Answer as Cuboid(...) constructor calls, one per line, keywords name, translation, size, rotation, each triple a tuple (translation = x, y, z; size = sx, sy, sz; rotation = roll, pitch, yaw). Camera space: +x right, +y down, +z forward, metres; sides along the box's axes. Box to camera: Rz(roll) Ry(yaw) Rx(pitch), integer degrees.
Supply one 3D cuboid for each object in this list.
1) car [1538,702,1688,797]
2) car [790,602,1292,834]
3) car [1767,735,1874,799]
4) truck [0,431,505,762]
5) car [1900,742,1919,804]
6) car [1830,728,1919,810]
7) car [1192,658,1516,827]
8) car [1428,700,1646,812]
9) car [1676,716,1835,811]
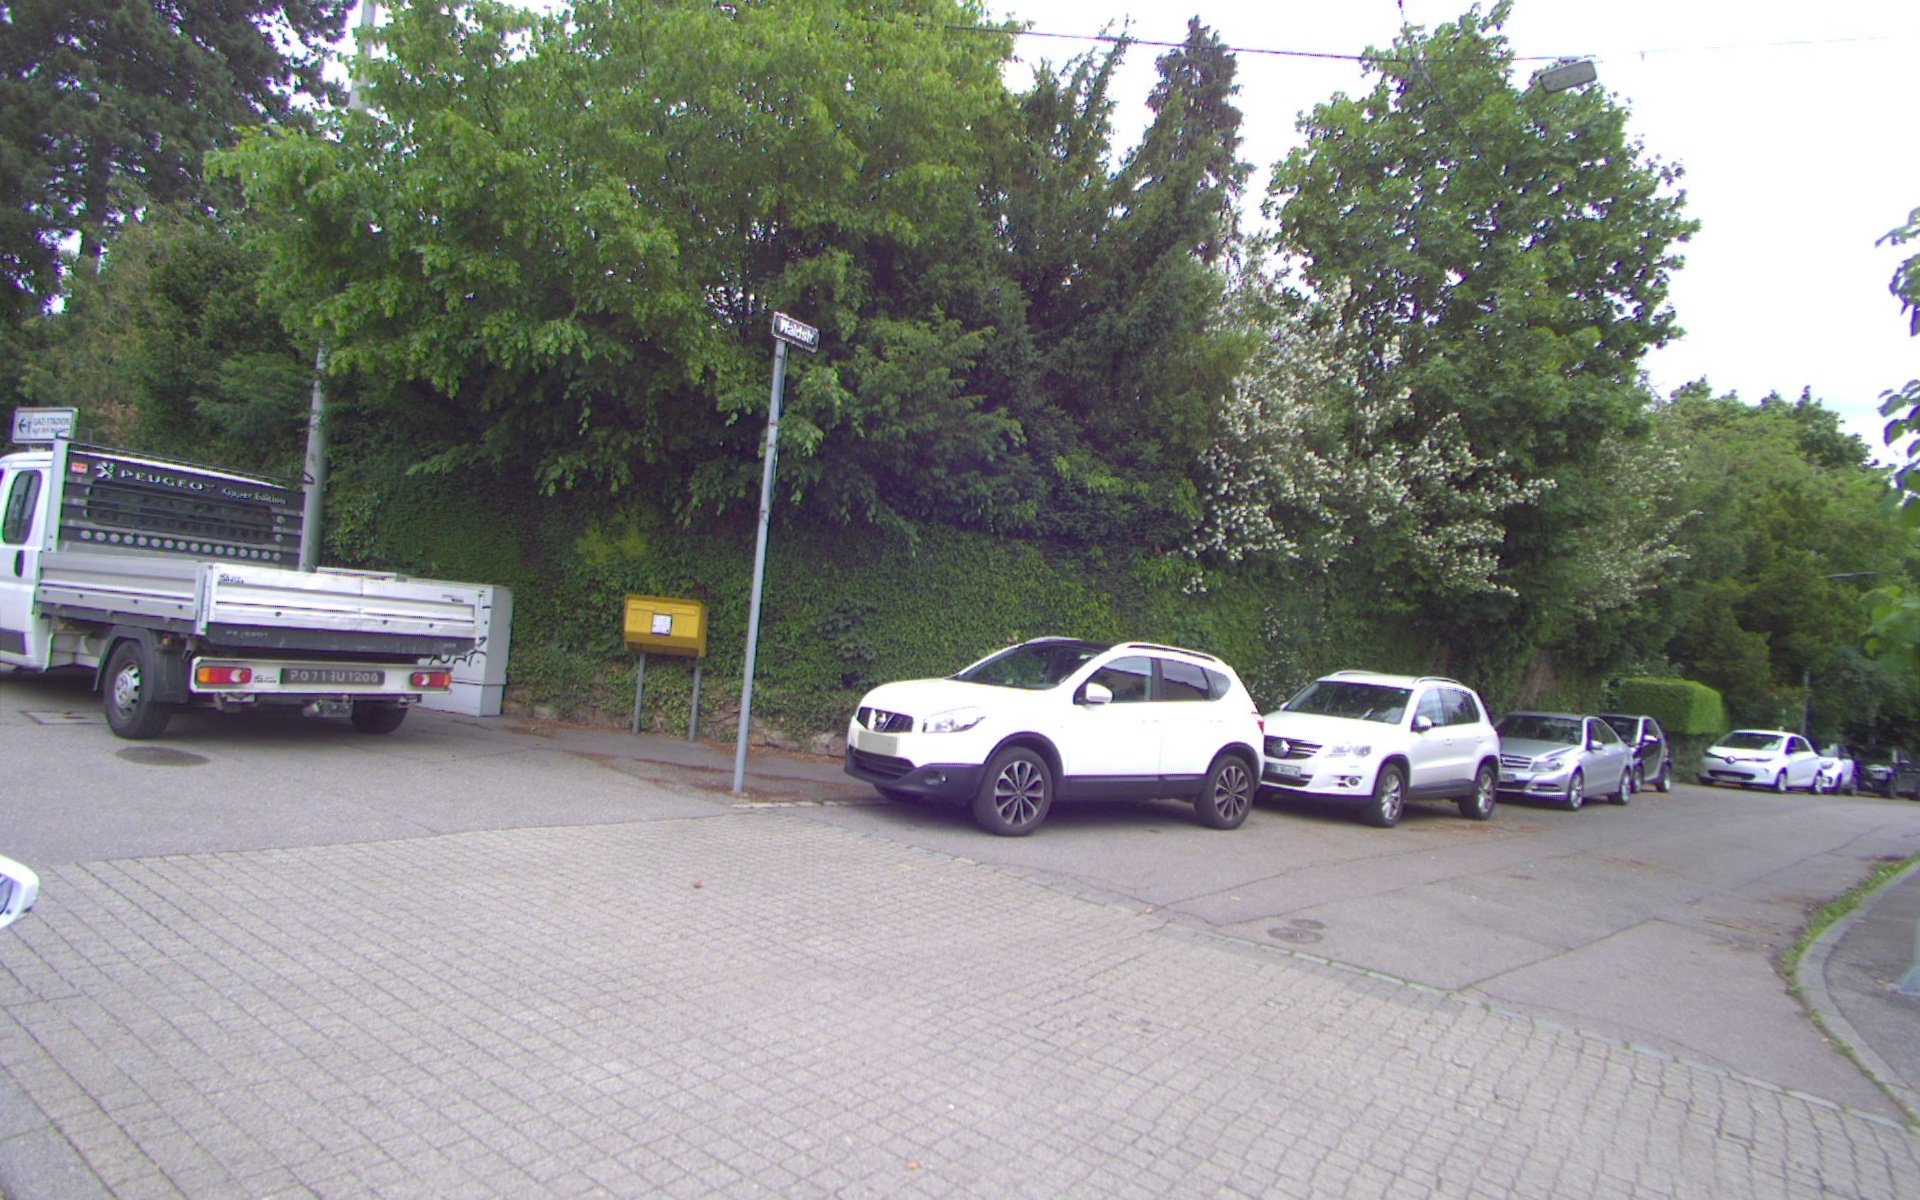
Cuboid(name="car", translation=(13.478, 3.069, 20.731), size=(2.903, 1.548, 1.846), rotation=(9, -2, -43))
Cuboid(name="car", translation=(0.865, 1.106, 9.150), size=(4.221, 1.610, 1.969), rotation=(9, -5, -37))
Cuboid(name="car", translation=(24.612, 4.777, 28.738), size=(3.358, 1.440, 1.656), rotation=(9, -2, -39))
Cuboid(name="truck", translation=(-7.046, -0.111, 9.101), size=(5.783, 2.219, 2.189), rotation=(5, -3, 30))
Cuboid(name="car", translation=(35.431, 6.423, 35.760), size=(3.968, 2.034, 1.982), rotation=(12, -4, -34))
Cuboid(name="car", translation=(28.175, 5.138, 30.657), size=(3.976, 2.037, 1.976), rotation=(9, -2, -43))
Cuboid(name="car", translation=(4.838, 1.691, 12.090), size=(4.049, 1.483, 1.976), rotation=(9, -2, -43))
Cuboid(name="car", translation=(9.407, 2.499, 16.251), size=(4.273, 1.461, 1.978), rotation=(9, -7, -44))
Cuboid(name="car", translation=(20.688, 4.259, 26.134), size=(3.968, 1.725, 1.983), rotation=(12, -4, -33))
